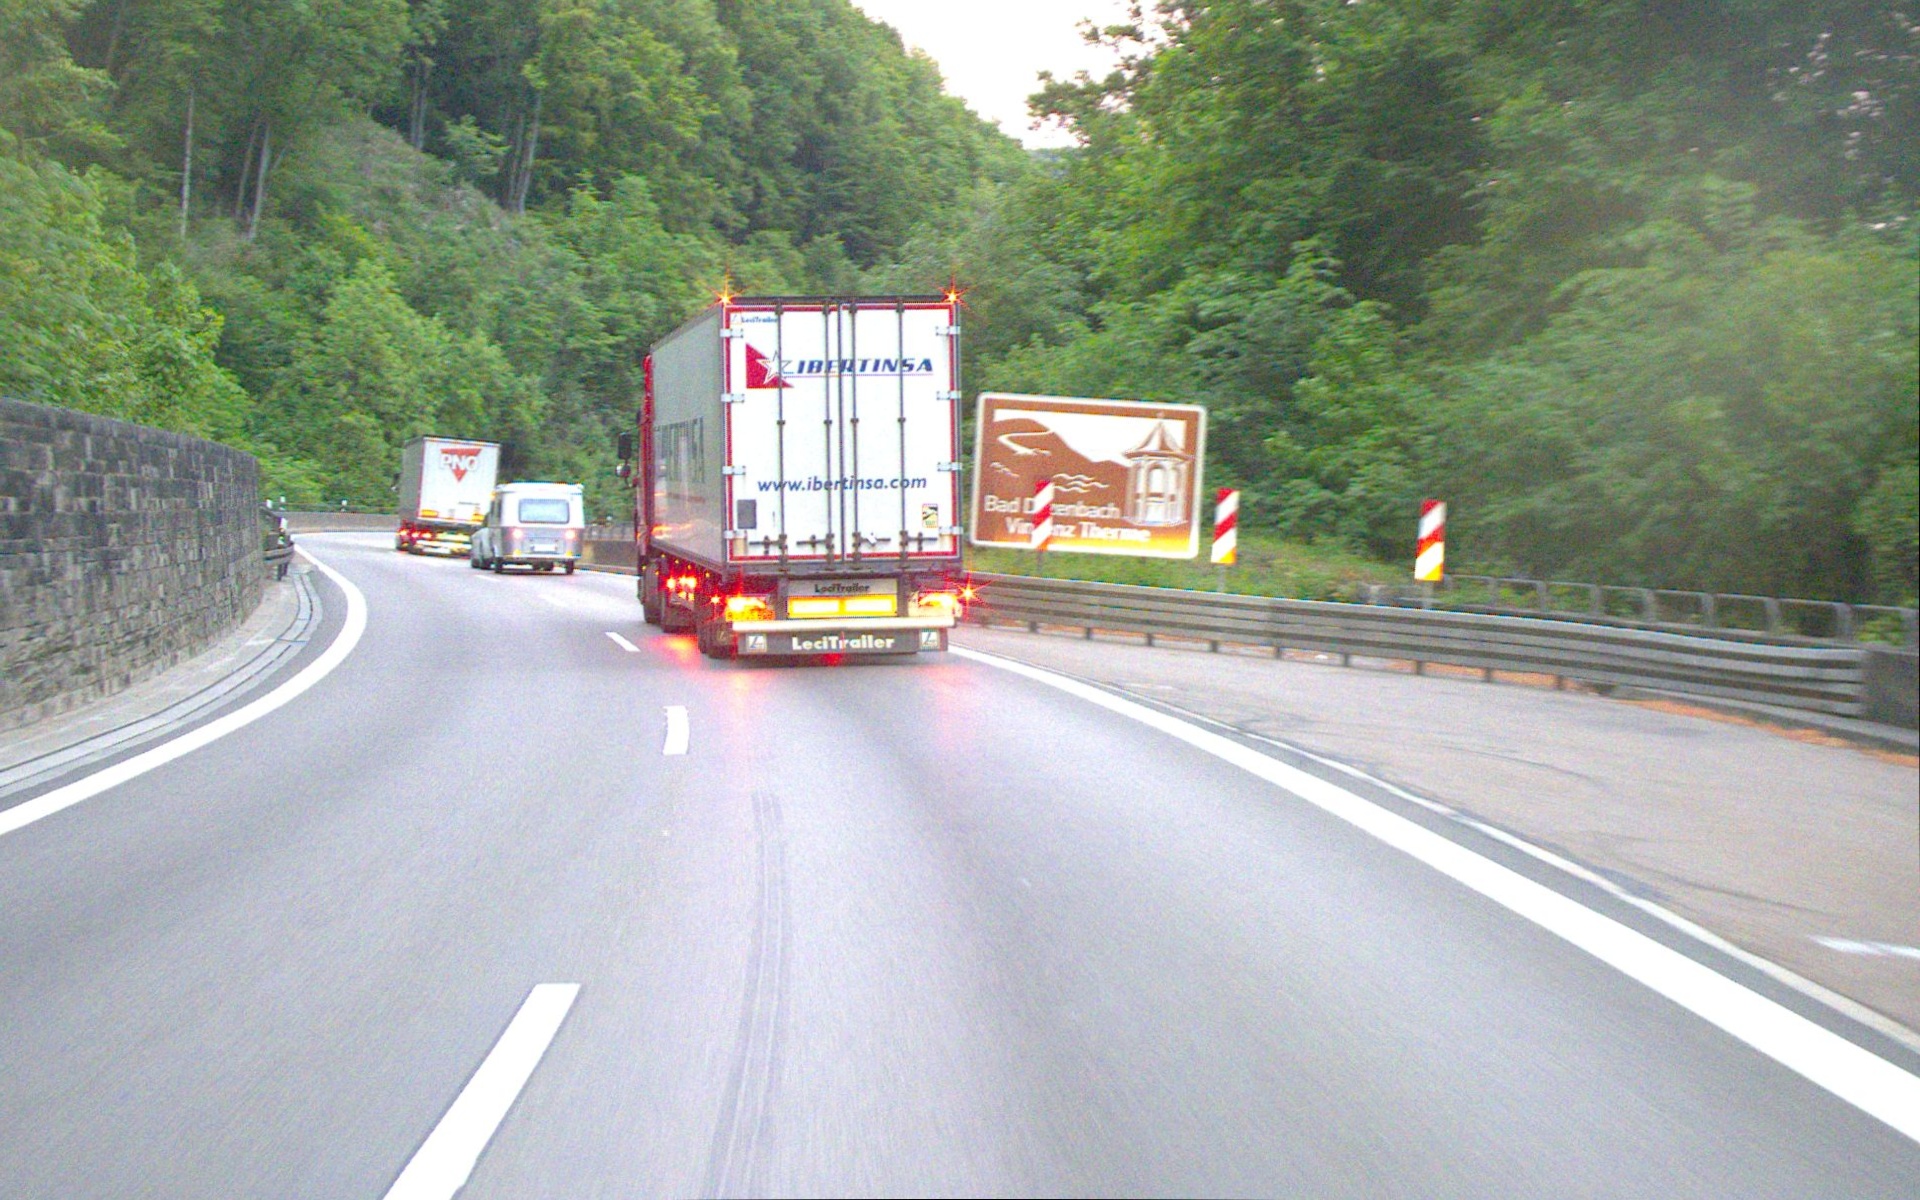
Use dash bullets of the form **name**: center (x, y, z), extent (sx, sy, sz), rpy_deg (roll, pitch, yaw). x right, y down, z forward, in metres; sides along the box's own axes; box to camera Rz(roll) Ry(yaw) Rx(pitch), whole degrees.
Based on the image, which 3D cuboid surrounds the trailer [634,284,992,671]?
- **trailer**: center (-2.182, -1.690, 42.743), extent (3.096, 3.956, 14.224), rpy_deg (-1, 4, -8)

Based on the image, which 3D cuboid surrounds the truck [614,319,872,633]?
- **truck**: center (-3.229, -1.862, 49.412), extent (3.068, 4.129, 6.449), rpy_deg (-2, 4, -8)

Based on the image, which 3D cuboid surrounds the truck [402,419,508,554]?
- **truck**: center (-17.573, -3.815, 120.392), extent (3.294, 4.159, 16.506), rpy_deg (2, 0, -8)

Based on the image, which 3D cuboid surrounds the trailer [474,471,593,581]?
- **trailer**: center (-10.765, -1.898, 86.395), extent (2.054, 2.366, 5.941), rpy_deg (6, 2, -14)
